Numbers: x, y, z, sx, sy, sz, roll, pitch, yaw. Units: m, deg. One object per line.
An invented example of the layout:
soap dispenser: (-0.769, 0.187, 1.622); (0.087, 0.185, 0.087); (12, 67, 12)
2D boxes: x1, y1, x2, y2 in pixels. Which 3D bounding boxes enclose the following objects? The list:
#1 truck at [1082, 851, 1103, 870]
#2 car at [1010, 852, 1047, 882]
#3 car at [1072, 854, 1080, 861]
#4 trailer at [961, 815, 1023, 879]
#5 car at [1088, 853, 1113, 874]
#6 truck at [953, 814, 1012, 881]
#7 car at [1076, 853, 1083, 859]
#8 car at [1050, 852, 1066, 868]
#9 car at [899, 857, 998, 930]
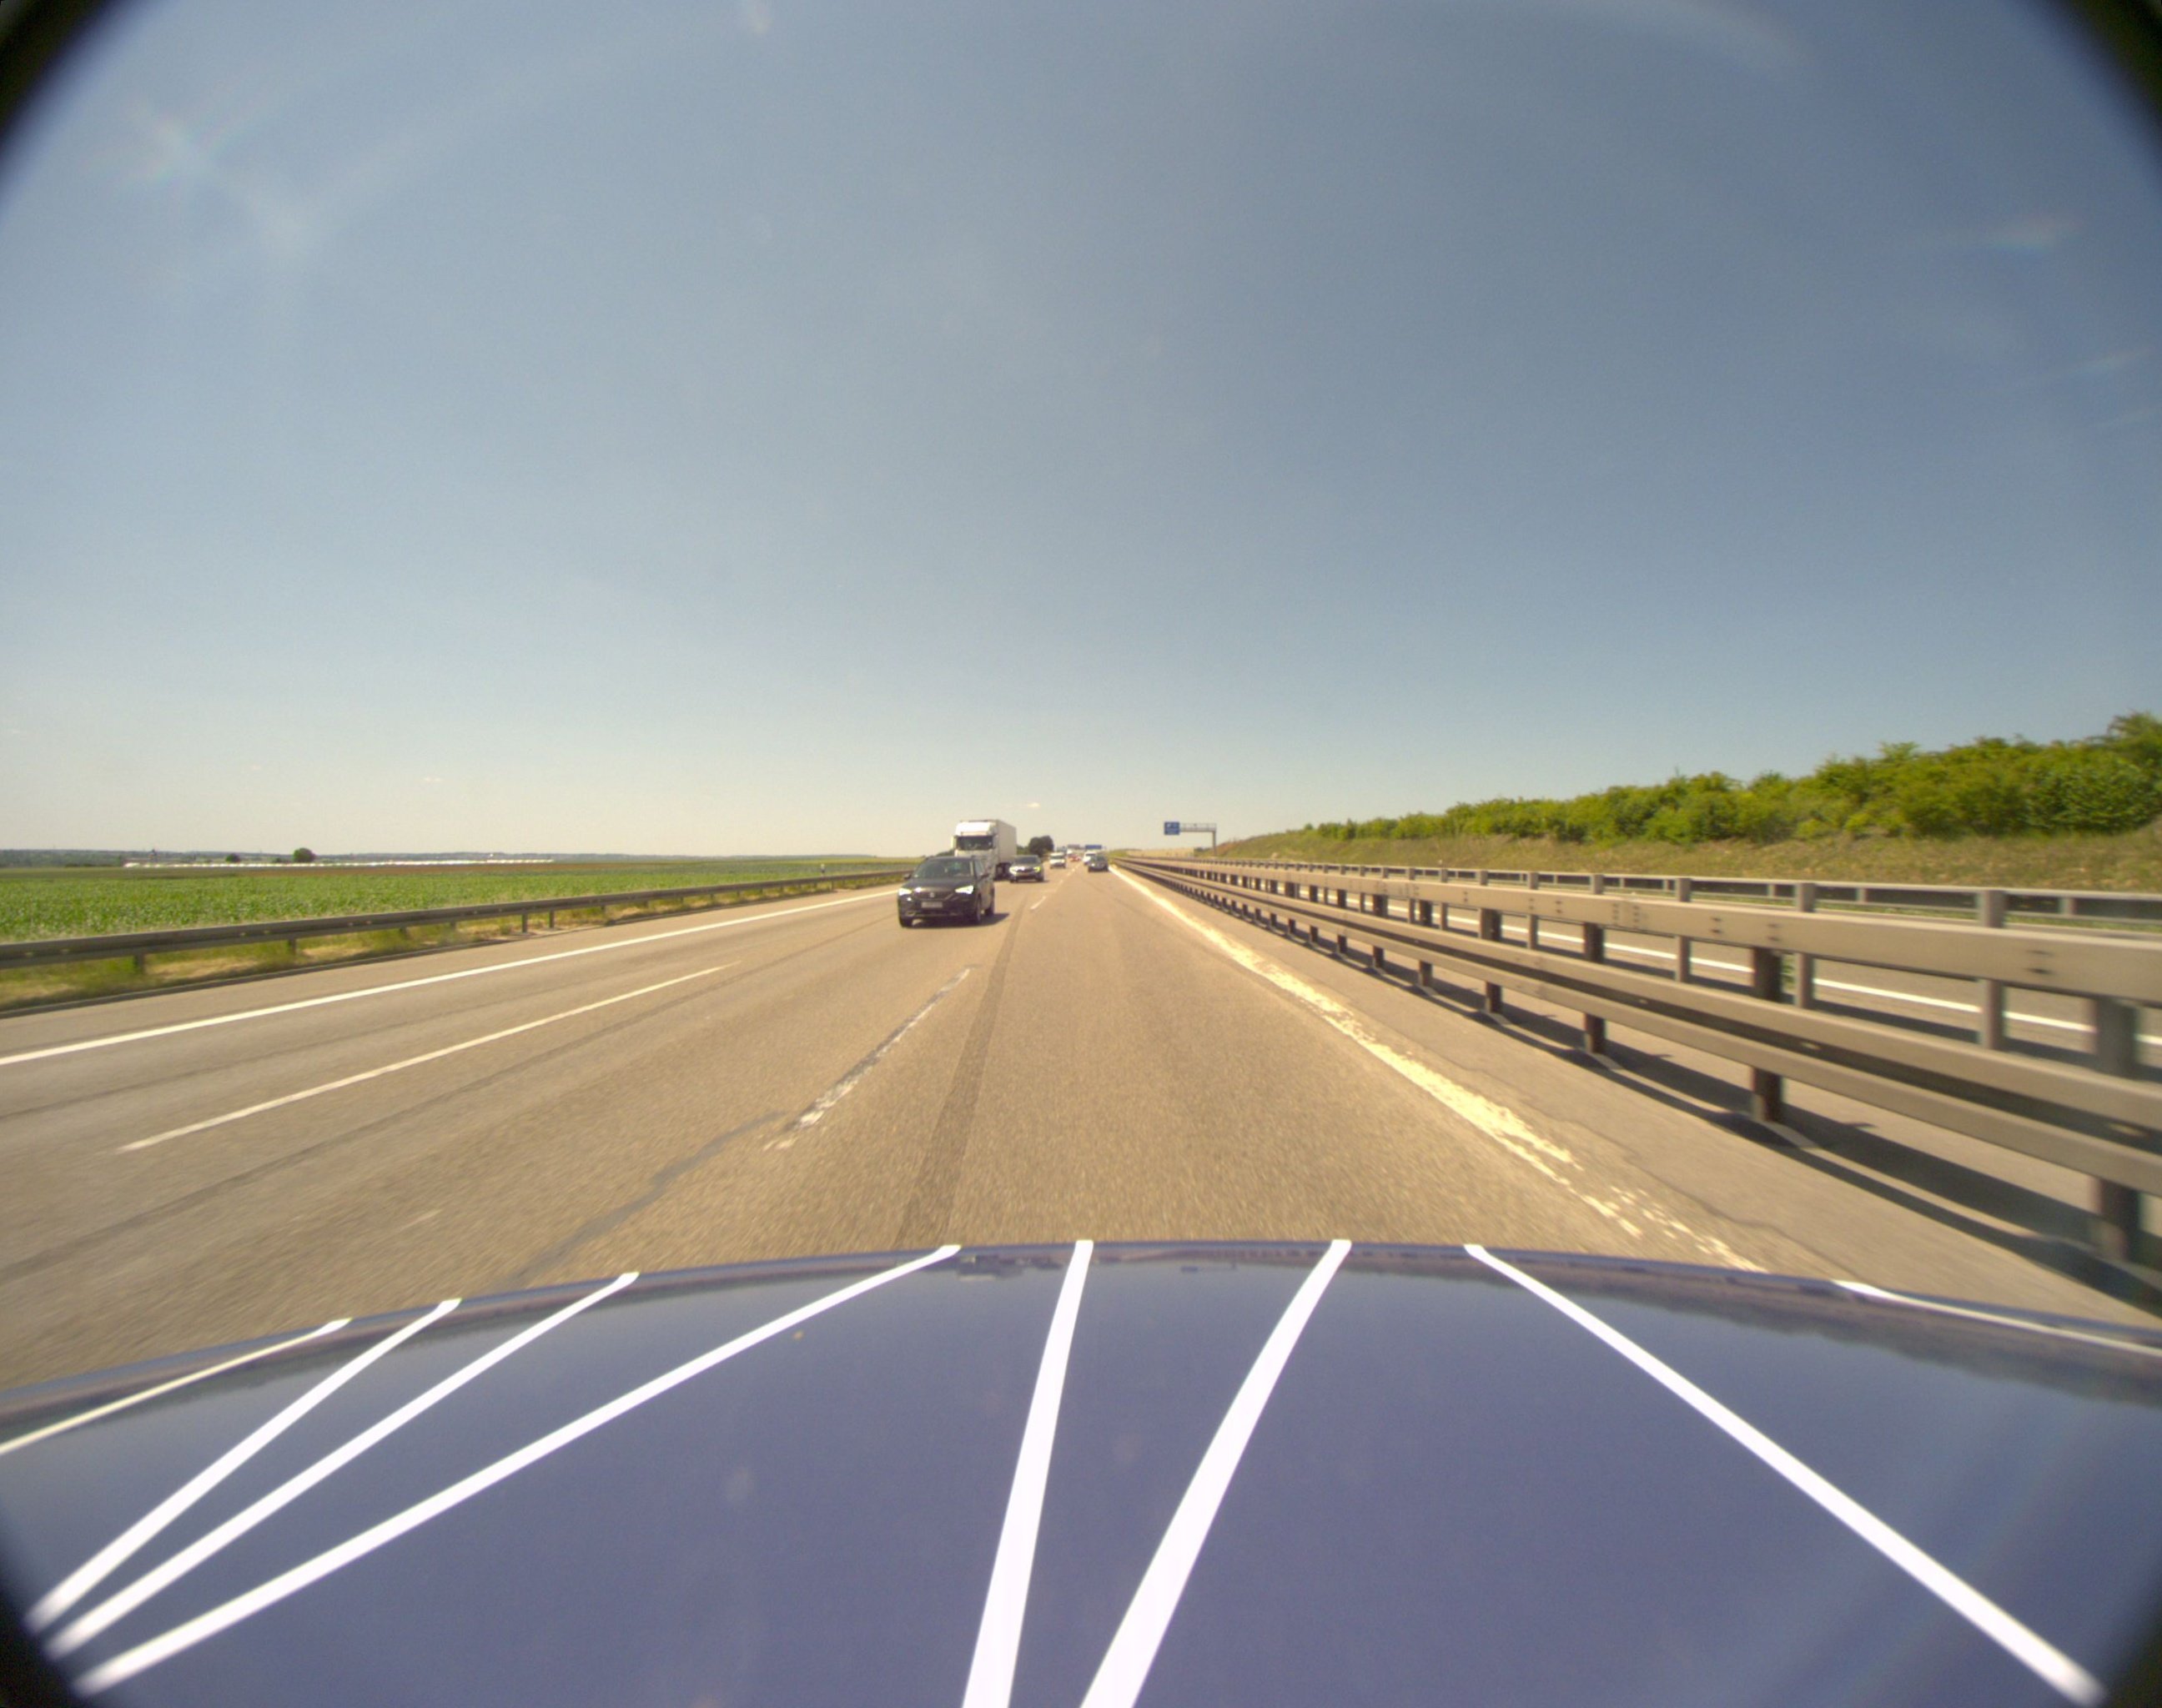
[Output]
truck: (1.525, 0.789, 102.188); (2.334, 2.378, 6.685); (-2, 0, -2)
car: (-3.120, 0.763, 45.897); (1.856, 1.638, 4.645); (-2, -1, 0)
car: (-1.065, 0.702, 169.824); (1.723, 1.514, 3.582); (-2, 0, 2)
trailer: (-6.440, -0.503, 57.415); (2.875, 4.195, 13.293); (-2, 0, 0)
car: (1.572, 0.769, 62.778); (1.715, 1.586, 4.546); (1, 0, -2)
truck: (-6.475, -0.406, 51.011); (2.870, 4.067, 6.878); (-2, 0, 0)
car: (-0.383, 0.443, 199.010); (1.724, 1.514, 3.581); (-2, 0, -2)
car: (-2.718, 0.748, 90.768); (1.812, 1.836, 5.311); (-1, 0, -2)
car: (-3.178, 0.894, 18.928); (1.801, 1.553, 3.823); (-2, 0, -1)
